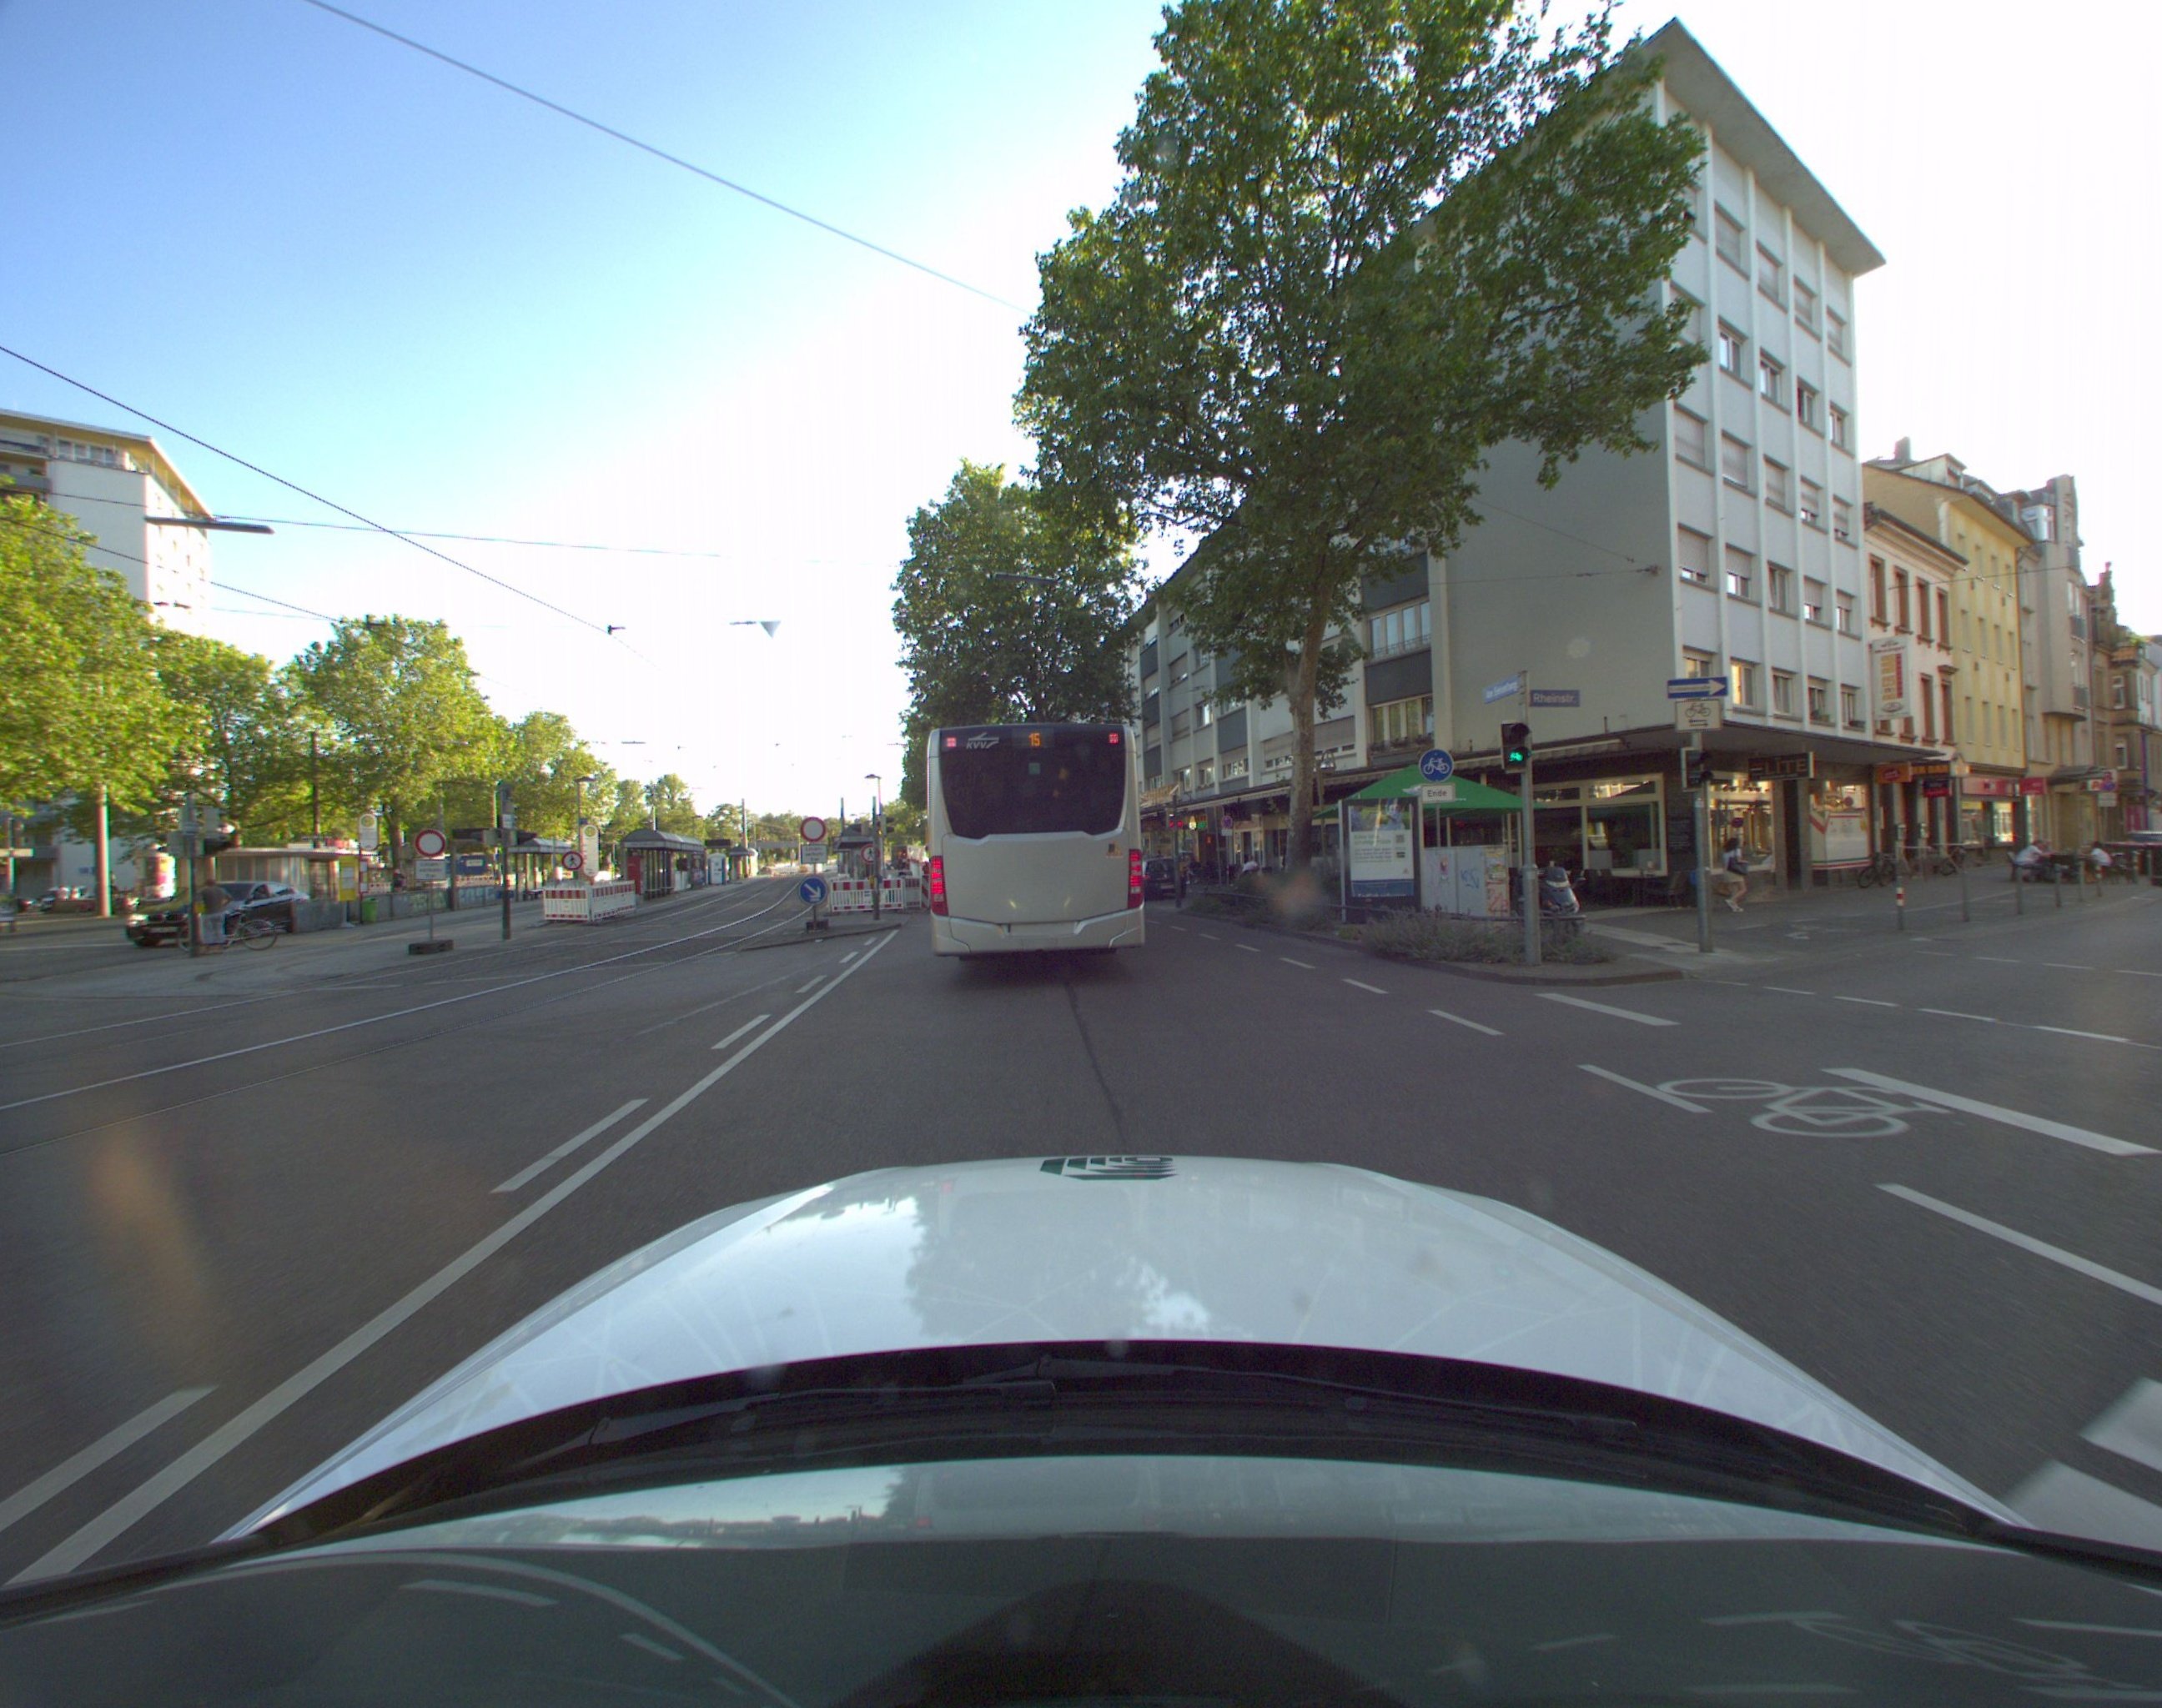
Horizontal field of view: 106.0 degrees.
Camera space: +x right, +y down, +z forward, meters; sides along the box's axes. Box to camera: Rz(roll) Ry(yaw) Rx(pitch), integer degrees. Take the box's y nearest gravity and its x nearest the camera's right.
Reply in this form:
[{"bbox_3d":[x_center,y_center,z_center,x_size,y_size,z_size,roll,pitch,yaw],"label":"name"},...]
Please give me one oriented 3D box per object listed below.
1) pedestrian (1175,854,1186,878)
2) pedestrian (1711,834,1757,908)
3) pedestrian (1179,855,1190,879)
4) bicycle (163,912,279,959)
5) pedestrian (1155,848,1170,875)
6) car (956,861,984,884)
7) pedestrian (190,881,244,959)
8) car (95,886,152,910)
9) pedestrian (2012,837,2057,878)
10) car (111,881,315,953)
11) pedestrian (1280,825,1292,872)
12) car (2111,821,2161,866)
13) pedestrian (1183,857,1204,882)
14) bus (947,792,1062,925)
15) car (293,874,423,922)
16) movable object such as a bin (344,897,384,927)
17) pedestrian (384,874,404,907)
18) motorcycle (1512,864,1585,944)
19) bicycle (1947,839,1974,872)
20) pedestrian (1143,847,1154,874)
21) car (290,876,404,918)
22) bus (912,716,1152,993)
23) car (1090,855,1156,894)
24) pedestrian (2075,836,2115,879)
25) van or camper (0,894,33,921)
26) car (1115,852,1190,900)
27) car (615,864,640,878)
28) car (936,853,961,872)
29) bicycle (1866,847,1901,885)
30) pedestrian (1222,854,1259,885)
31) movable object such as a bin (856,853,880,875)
[{"bbox_3d":[4.876,0.598,39.886,0.392,1.174,0.386,-2,0,-15],"label":"pedestrian"},{"bbox_3d":[14.072,0.356,17.554,0.707,1.548,0.607,0,0,44],"label":"pedestrian"},{"bbox_3d":[5.014,0.624,39.424,0.388,1.122,0.391,-2,0,-14],"label":"pedestrian"},{"bbox_3d":[-20.202,1.900,19.172,1.846,0.942,0.460,-2,0,-19],"label":"bicycle"},{"bbox_3d":[3.912,0.373,38.984,0.593,1.256,0.391,-2,0,-12],"label":"pedestrian"},{"bbox_3d":[-7.597,1.249,55.661,1.755,1.464,3.987,-2,0,-9],"label":"car"},{"bbox_3d":[-19.944,1.515,18.810,0.722,1.725,0.397,-2,0,-19],"label":"pedestrian"},{"bbox_3d":[-75.381,3.424,64.180,2.008,1.565,3.957,0,1,-35],"label":"car"},{"bbox_3d":[29.197,0.092,24.953,0.548,1.243,0.733,0,0,3],"label":"pedestrian"},{"bbox_3d":[-23.490,1.622,22.309,1.890,1.585,4.184,-2,0,-16],"label":"car"},{"bbox_3d":[7.576,-0.218,30.062,0.357,1.718,0.308,0,0,-6],"label":"pedestrian"},{"bbox_3d":[39.188,-0.422,29.538,4.014,1.495,1.824,-3,2,-31],"label":"car"},{"bbox_3d":[5.149,0.699,37.229,0.706,1.108,0.763,-2,0,-13],"label":"pedestrian"},{"bbox_3d":[-2.410,0.139,24.447,2.655,3.098,10.191,-2,0,-7],"label":"bus"},{"bbox_3d":[-26.472,1.557,30.028,1.890,1.531,4.184,-2,0,-16],"label":"car"},{"bbox_3d":[-22.065,1.778,25.075,0.672,0.866,0.698,0,0,-16],"label":"movable object such as a bin"},{"bbox_3d":[-42.269,2.247,50.120,0.711,2.013,0.737,-2,0,-25],"label":"pedestrian"},{"bbox_3d":[7.281,0.739,12.737,0.566,1.158,1.465,0,0,12],"label":"motorcycle"},{"bbox_3d":[30.730,0.047,28.456,1.725,1.040,0.292,-5,-1,-33],"label":"bicycle"},{"bbox_3d":[3.188,0.292,38.563,0.388,1.256,0.391,-2,0,-14],"label":"pedestrian"},{"bbox_3d":[-30.996,1.765,34.578,1.890,1.531,4.184,-2,0,-16],"label":"car"},{"bbox_3d":[-1.128,0.019,14.375,2.655,3.098,10.191,-2,0,-7],"label":"bus"},{"bbox_3d":[1.704,0.821,34.115,1.666,1.394,3.394,-5,1,-16],"label":"car"},{"bbox_3d":[29.826,0.101,23.952,0.600,1.243,0.687,0,0,-34],"label":"pedestrian"},{"bbox_3d":[-65.897,3.251,48.552,1.805,1.552,4.026,-2,0,33],"label":"van or camper"},{"bbox_3d":[2.575,0.773,30.155,1.665,1.516,3.396,-5,1,-14],"label":"car"},{"bbox_3d":[-53.937,2.035,96.847,1.892,1.531,4.178,-2,0,-20],"label":"car"},{"bbox_3d":[-10.632,0.669,65.224,1.757,1.464,3.983,-2,0,-12],"label":"car"},{"bbox_3d":[23.243,0.346,23.575,1.724,1.040,0.292,-1,-3,-33],"label":"bicycle"},{"bbox_3d":[6.462,0.632,32.974,1.179,1.197,0.922,-2,0,-13],"label":"pedestrian"},{"bbox_3d":[-24.679,1.143,94.231,2.498,2.477,5.328,-2,0,-15],"label":"movable object such as a bin"}]
